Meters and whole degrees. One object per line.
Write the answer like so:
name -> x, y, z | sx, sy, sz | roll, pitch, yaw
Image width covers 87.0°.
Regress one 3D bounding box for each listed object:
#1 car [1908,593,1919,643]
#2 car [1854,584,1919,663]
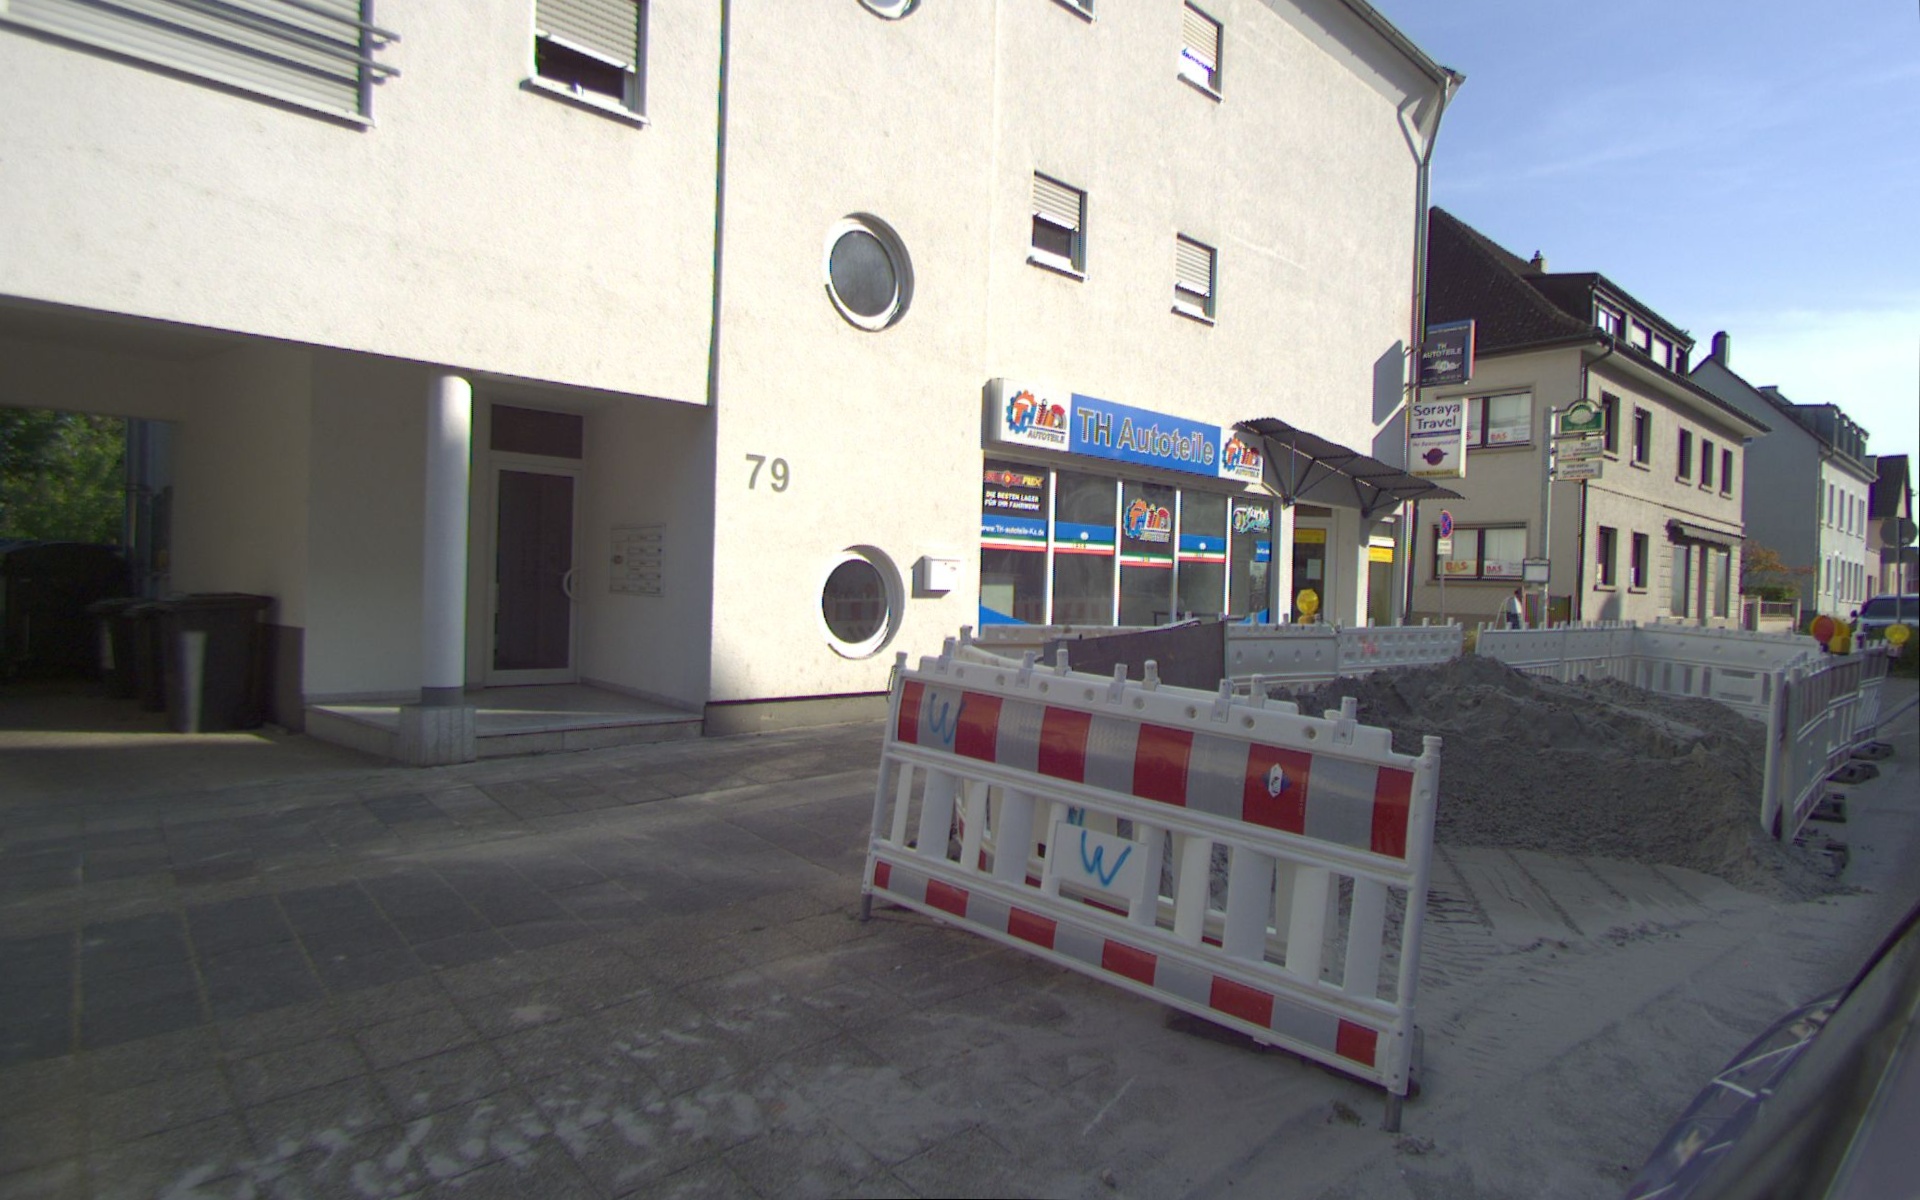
car -> 29.874, 0.554, 30.245 | 4.529, 1.437, 1.833 | 0, 2, -42
car -> 22.089, 0.505, 23.226 | 4.386, 1.650, 1.833 | 0, 2, -42
